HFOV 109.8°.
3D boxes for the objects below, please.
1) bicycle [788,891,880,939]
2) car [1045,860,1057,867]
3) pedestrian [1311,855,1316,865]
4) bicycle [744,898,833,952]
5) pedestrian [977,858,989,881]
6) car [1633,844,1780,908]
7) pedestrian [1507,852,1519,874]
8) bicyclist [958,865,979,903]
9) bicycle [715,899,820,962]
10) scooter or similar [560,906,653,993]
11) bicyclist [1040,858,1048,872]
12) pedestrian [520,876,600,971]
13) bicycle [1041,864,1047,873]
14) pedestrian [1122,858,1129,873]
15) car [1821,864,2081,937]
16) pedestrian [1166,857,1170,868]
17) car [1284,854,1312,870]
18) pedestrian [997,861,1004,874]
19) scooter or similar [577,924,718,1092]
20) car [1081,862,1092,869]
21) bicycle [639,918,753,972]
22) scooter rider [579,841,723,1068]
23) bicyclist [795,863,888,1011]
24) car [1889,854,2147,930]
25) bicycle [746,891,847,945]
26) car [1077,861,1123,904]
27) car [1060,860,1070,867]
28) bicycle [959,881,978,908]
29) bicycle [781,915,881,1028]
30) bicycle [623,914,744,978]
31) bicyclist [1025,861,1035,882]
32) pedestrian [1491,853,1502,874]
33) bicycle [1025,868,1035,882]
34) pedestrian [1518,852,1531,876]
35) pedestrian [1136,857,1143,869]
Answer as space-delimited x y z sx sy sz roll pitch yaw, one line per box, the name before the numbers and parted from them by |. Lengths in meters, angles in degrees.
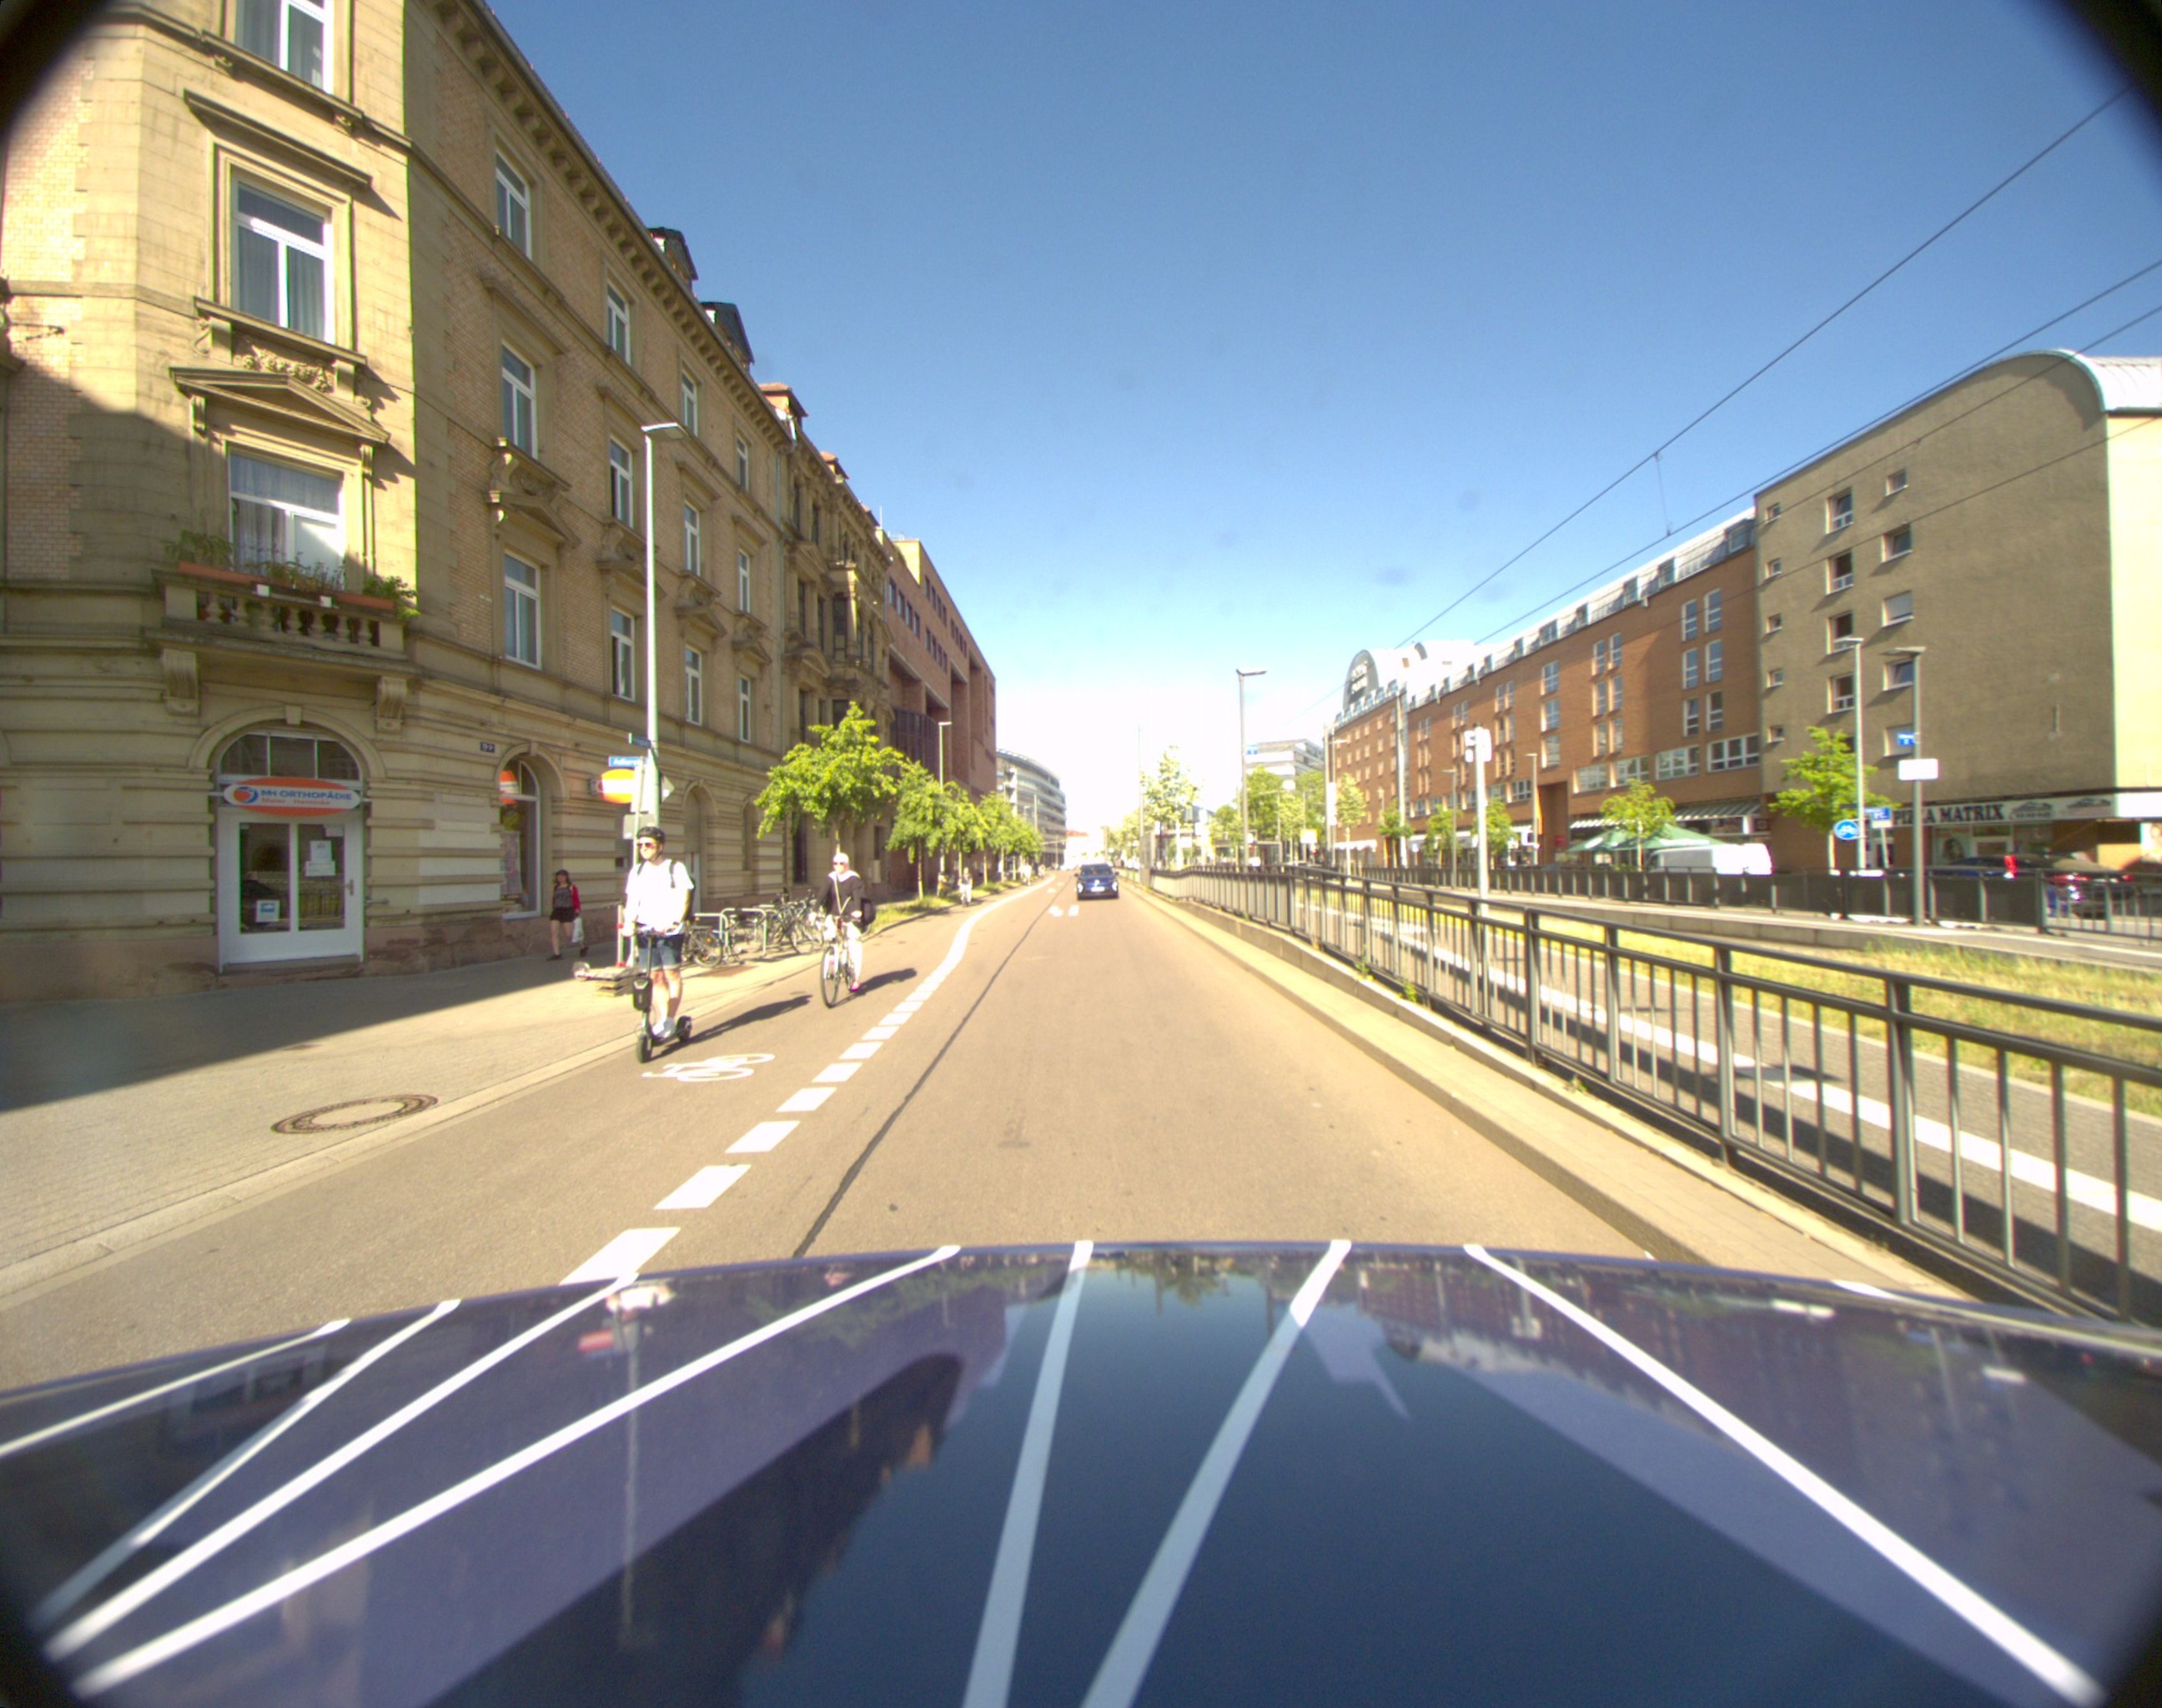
bicycle | -6.024 1.496 18.614 2.001 1.086 0.846 1 0 -9
car | -6.831 2.183 173.966 1.882 1.455 4.002 -2 0 7
pedestrian | 38.773 1.012 126.969 0.645 1.600 0.728 -1 0 5
bicycle | -6.121 1.482 15.931 1.603 1.039 0.607 1 0 4
pedestrian | -8.175 1.281 63.229 0.790 1.872 1.106 -1 0 0
car | 25.357 0.841 31.149 1.997 2.356 5.649 -1 0 8
pedestrian | 35.942 0.763 63.232 0.622 1.829 0.644 -1 0 -1
bicyclist | -4.774 1.265 32.301 0.659 1.528 0.909 -3 0 0
bicycle | -5.918 1.430 14.373 1.727 1.094 0.607 1 0 4
scooter or similar | -6.760 1.347 10.830 1.113 1.182 0.419 0 0 8
bicyclist | -4.511 1.342 91.967 0.755 1.607 0.762 -3 0 4
pedestrian | -8.960 1.170 13.094 0.711 1.533 0.927 -1 0 0
bicycle | -4.494 1.758 91.965 0.578 1.090 1.507 -3 0 3
pedestrian | 5.039 1.276 86.453 0.710 1.713 0.752 -1 0 -1
car | 19.040 0.948 16.906 1.578 1.368 3.653 1 0 1
pedestrian | 11.627 1.124 101.490 0.609 1.560 0.909 -1 0 7
car | 24.390 0.883 85.704 1.998 1.674 4.000 -2 0 1
pedestrian | -9.124 1.487 86.102 0.633 1.478 0.736 -1 0 0
scooter or similar | -3.744 1.283 6.660 0.492 1.219 1.170 -3 0 0
car | 1.248 2.593 172.686 1.882 1.455 4.002 -2 0 8
bicycle | -6.517 1.532 12.903 1.673 0.816 0.607 0 0 7
scooter rider | -3.779 0.836 6.751 0.668 1.850 0.901 -3 0 0
bicyclist | -2.936 0.989 9.390 0.781 1.701 0.868 -3 0 0
car | 24.206 0.907 19.902 1.819 1.749 4.000 -1 0 0
bicycle | -6.441 1.447 17.247 1.999 1.121 0.710 1 0 2
car | 0.793 1.196 33.021 1.802 1.596 4.000 -2 0 1
car | -3.934 2.353 189.526 1.882 1.455 4.002 -2 0 7
bicycle | -4.772 1.710 32.266 0.558 1.021 1.507 -3 0 0
bicycle | -2.976 1.363 9.229 0.558 1.086 1.792 -3 0 0
bicycle | -6.388 1.464 12.235 1.673 0.938 0.607 0 0 8
bicyclist | -4.262 1.465 63.353 0.684 1.718 0.909 -3 0 3
pedestrian | 35.434 0.814 64.775 0.622 1.829 0.644 -1 0 -1
bicycle | -4.232 1.724 63.375 0.578 1.090 1.507 -3 0 2
pedestrian | 34.858 0.771 59.678 0.622 1.829 0.645 -1 0 1
pedestrian | 7.859 1.205 101.960 0.608 1.560 0.728 -1 0 21
